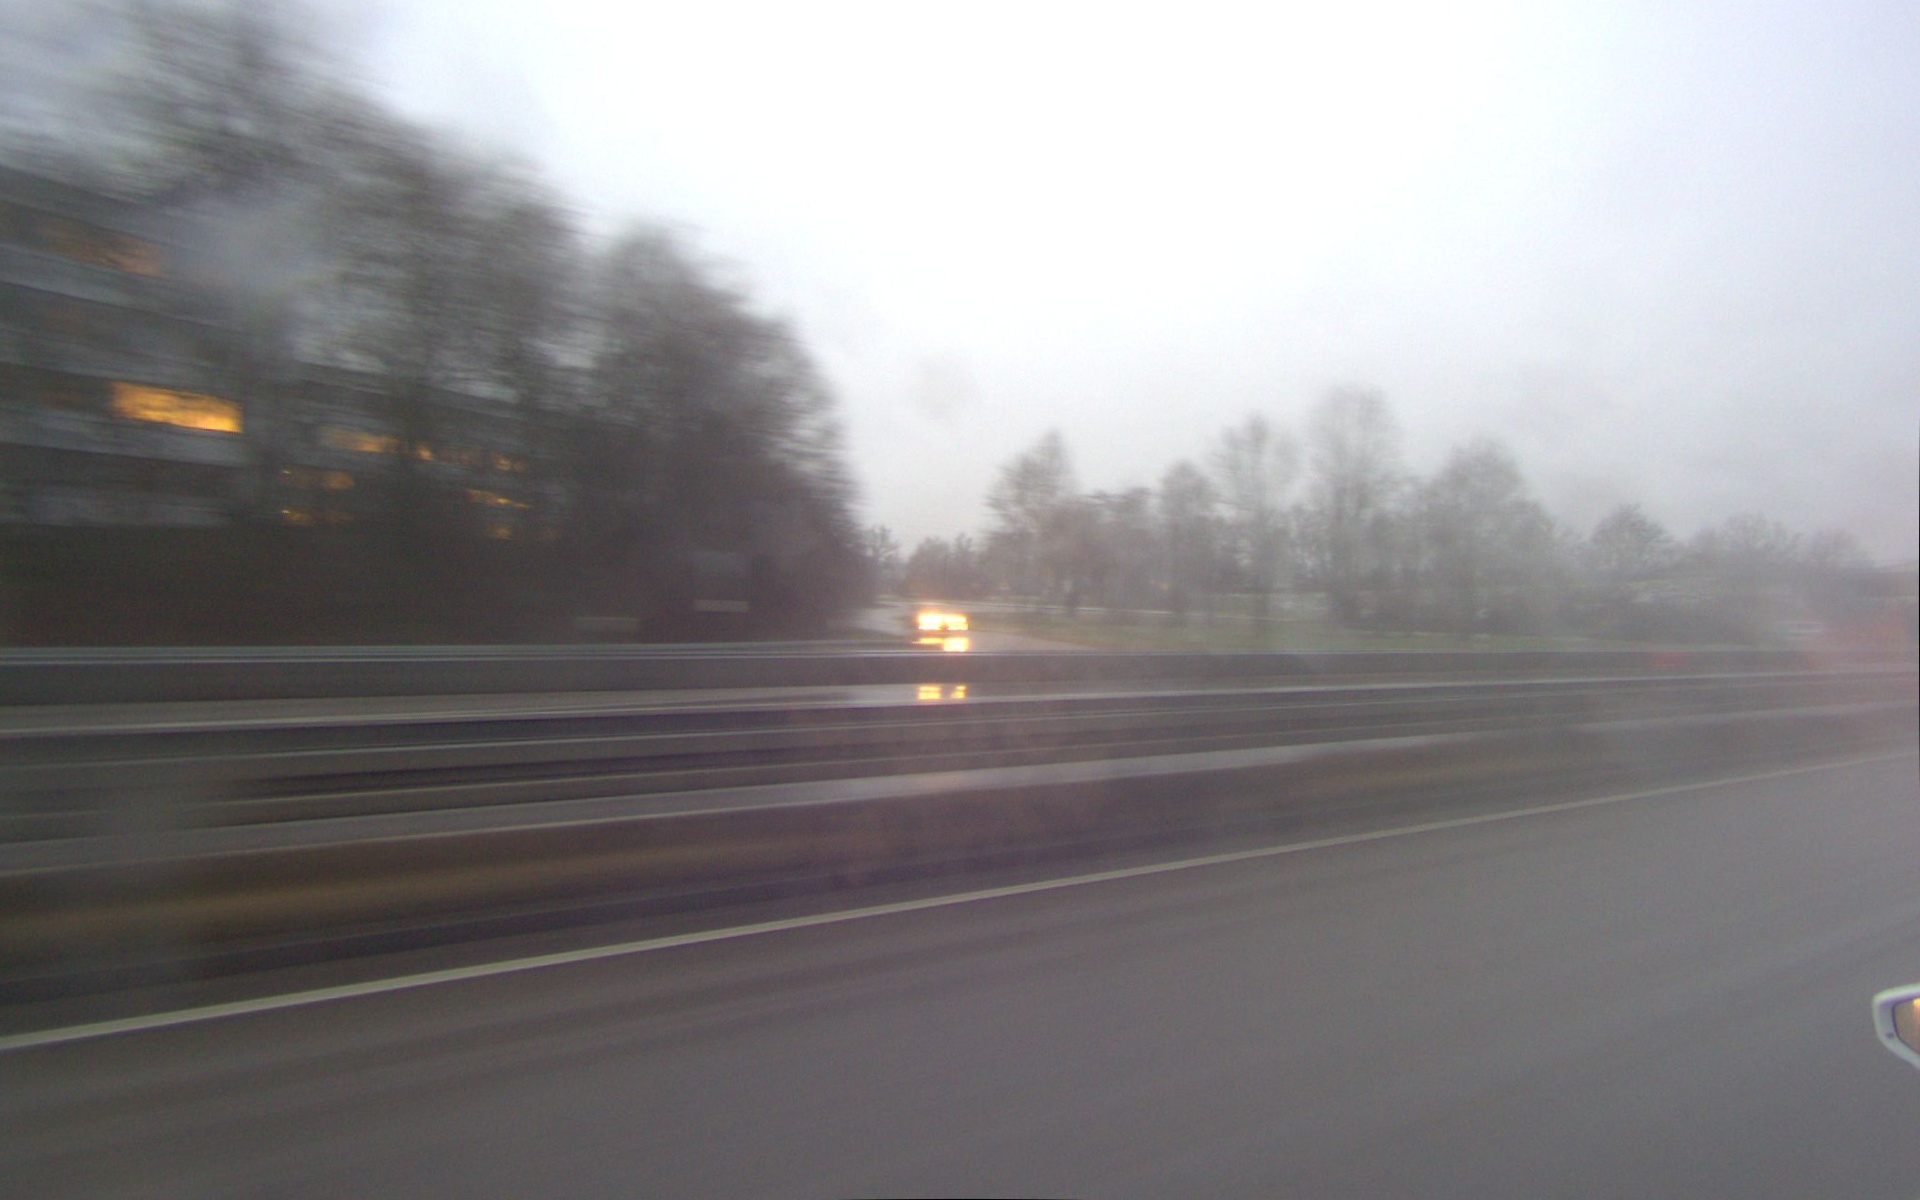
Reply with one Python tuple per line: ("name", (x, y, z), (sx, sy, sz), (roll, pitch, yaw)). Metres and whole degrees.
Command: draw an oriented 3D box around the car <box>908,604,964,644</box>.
("car", (-1.264, 1.200, 50.750), (1.822, 1.708, 3.985), (2, 2, -16))
